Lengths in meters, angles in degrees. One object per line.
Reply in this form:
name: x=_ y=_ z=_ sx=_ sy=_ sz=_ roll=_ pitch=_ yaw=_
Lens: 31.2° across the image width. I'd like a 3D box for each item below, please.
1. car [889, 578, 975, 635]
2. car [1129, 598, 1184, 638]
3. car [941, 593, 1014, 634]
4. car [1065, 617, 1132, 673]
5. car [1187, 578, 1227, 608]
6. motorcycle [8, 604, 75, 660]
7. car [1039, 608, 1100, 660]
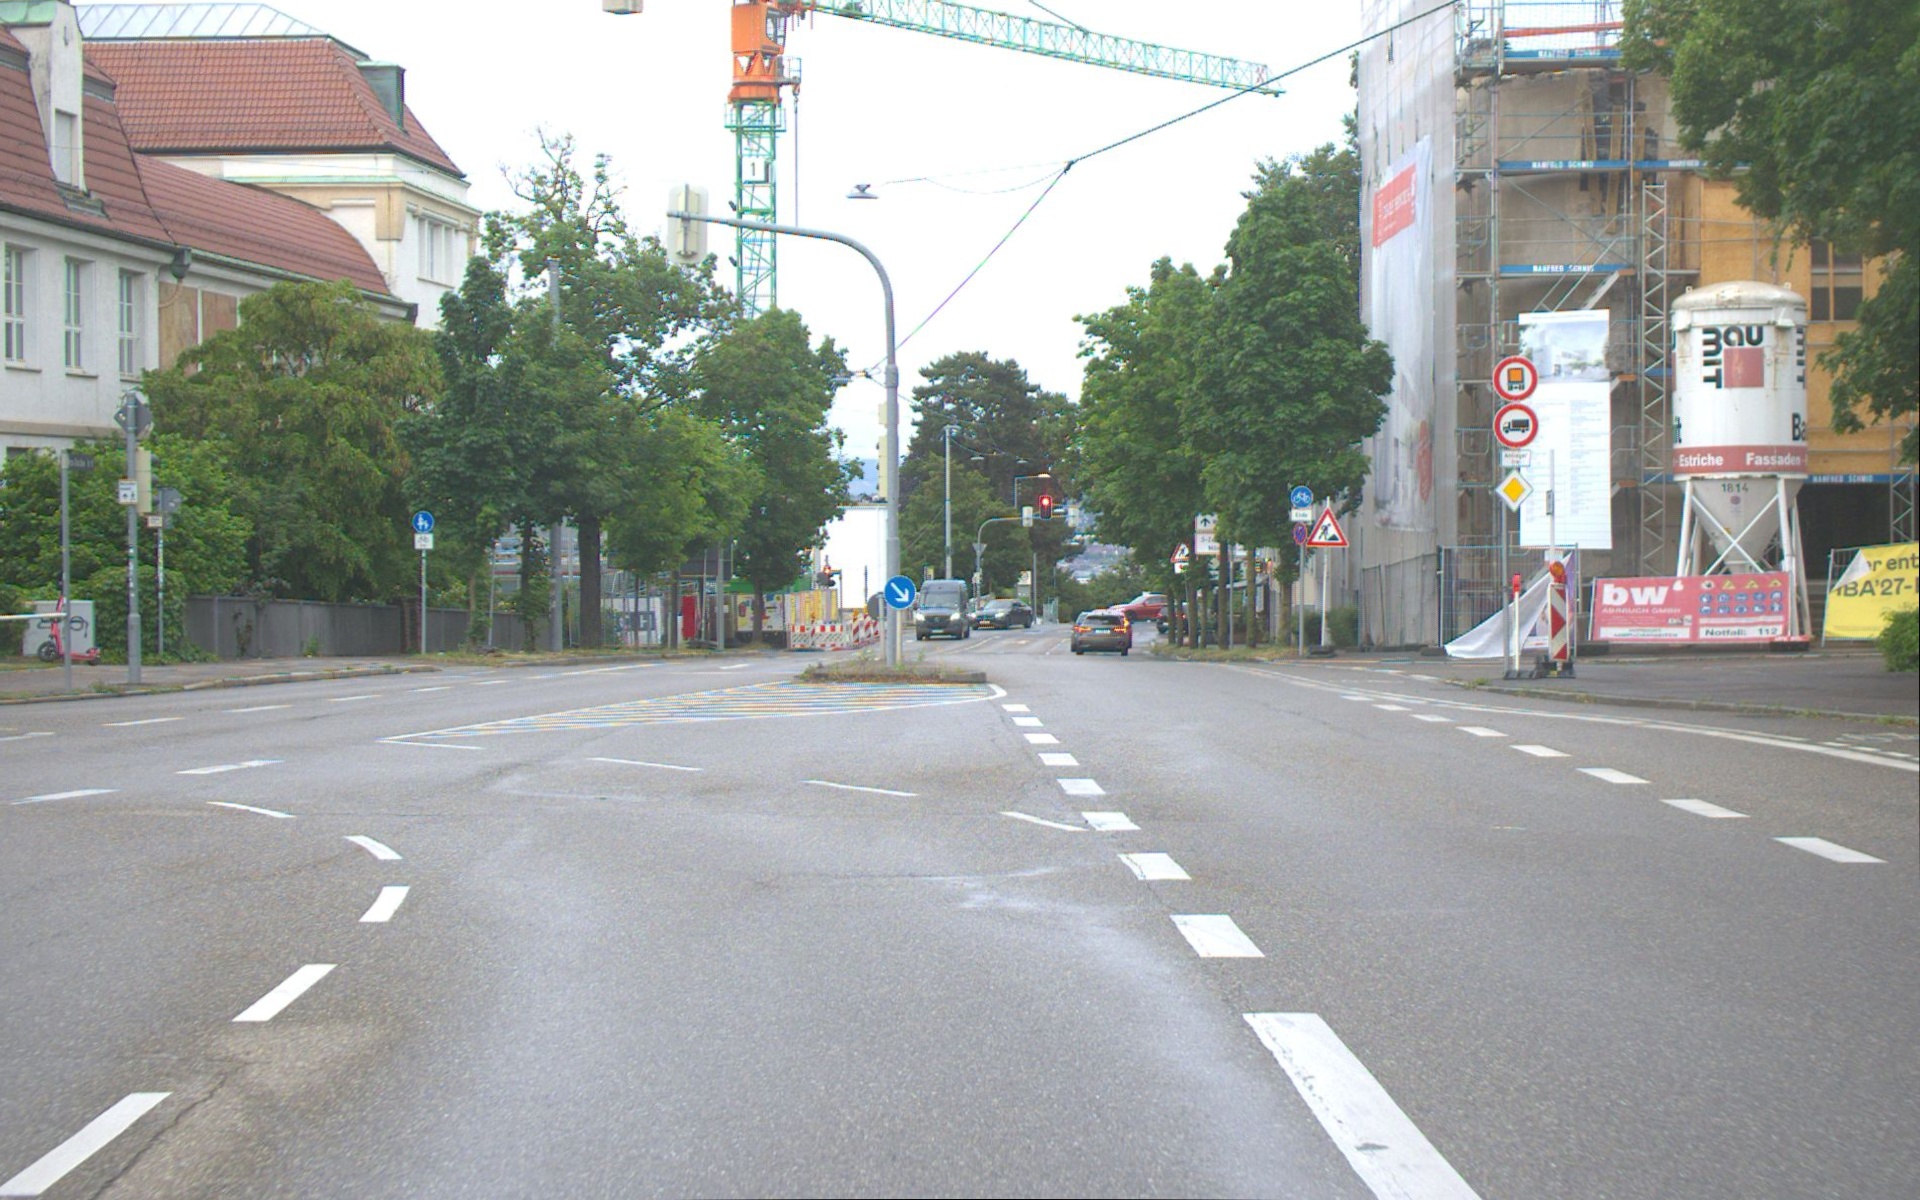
car: x=-1.179 y=0.260 z=150.720 sx=2.849 sy=2.394 sz=6.186 roll=1 pitch=1 yaw=8
car: x=9.249 y=0.823 z=161.552 sx=1.994 sy=1.744 sz=3.998 roll=-1 pitch=1 yaw=12
car: x=0.856 y=0.638 z=163.516 sx=1.996 sy=1.875 sz=3.995 roll=0 pitch=1 yaw=24
car: x=4.653 y=1.492 z=115.695 sx=1.993 sy=1.744 sz=4.000 roll=-1 pitch=1 yaw=-1
car: x=15.073 y=-0.458 z=209.861 sx=1.994 sy=1.744 sz=3.998 roll=-1 pitch=1 yaw=10
motorcycle: x=-14.792 y=0.515 z=55.395 sx=0.849 sy=0.874 sz=0.877 roll=1 pitch=1 yaw=-1
car: x=3.928 y=1.218 z=123.892 sx=1.993 sy=1.744 sz=4.000 roll=-1 pitch=1 yaw=-1
